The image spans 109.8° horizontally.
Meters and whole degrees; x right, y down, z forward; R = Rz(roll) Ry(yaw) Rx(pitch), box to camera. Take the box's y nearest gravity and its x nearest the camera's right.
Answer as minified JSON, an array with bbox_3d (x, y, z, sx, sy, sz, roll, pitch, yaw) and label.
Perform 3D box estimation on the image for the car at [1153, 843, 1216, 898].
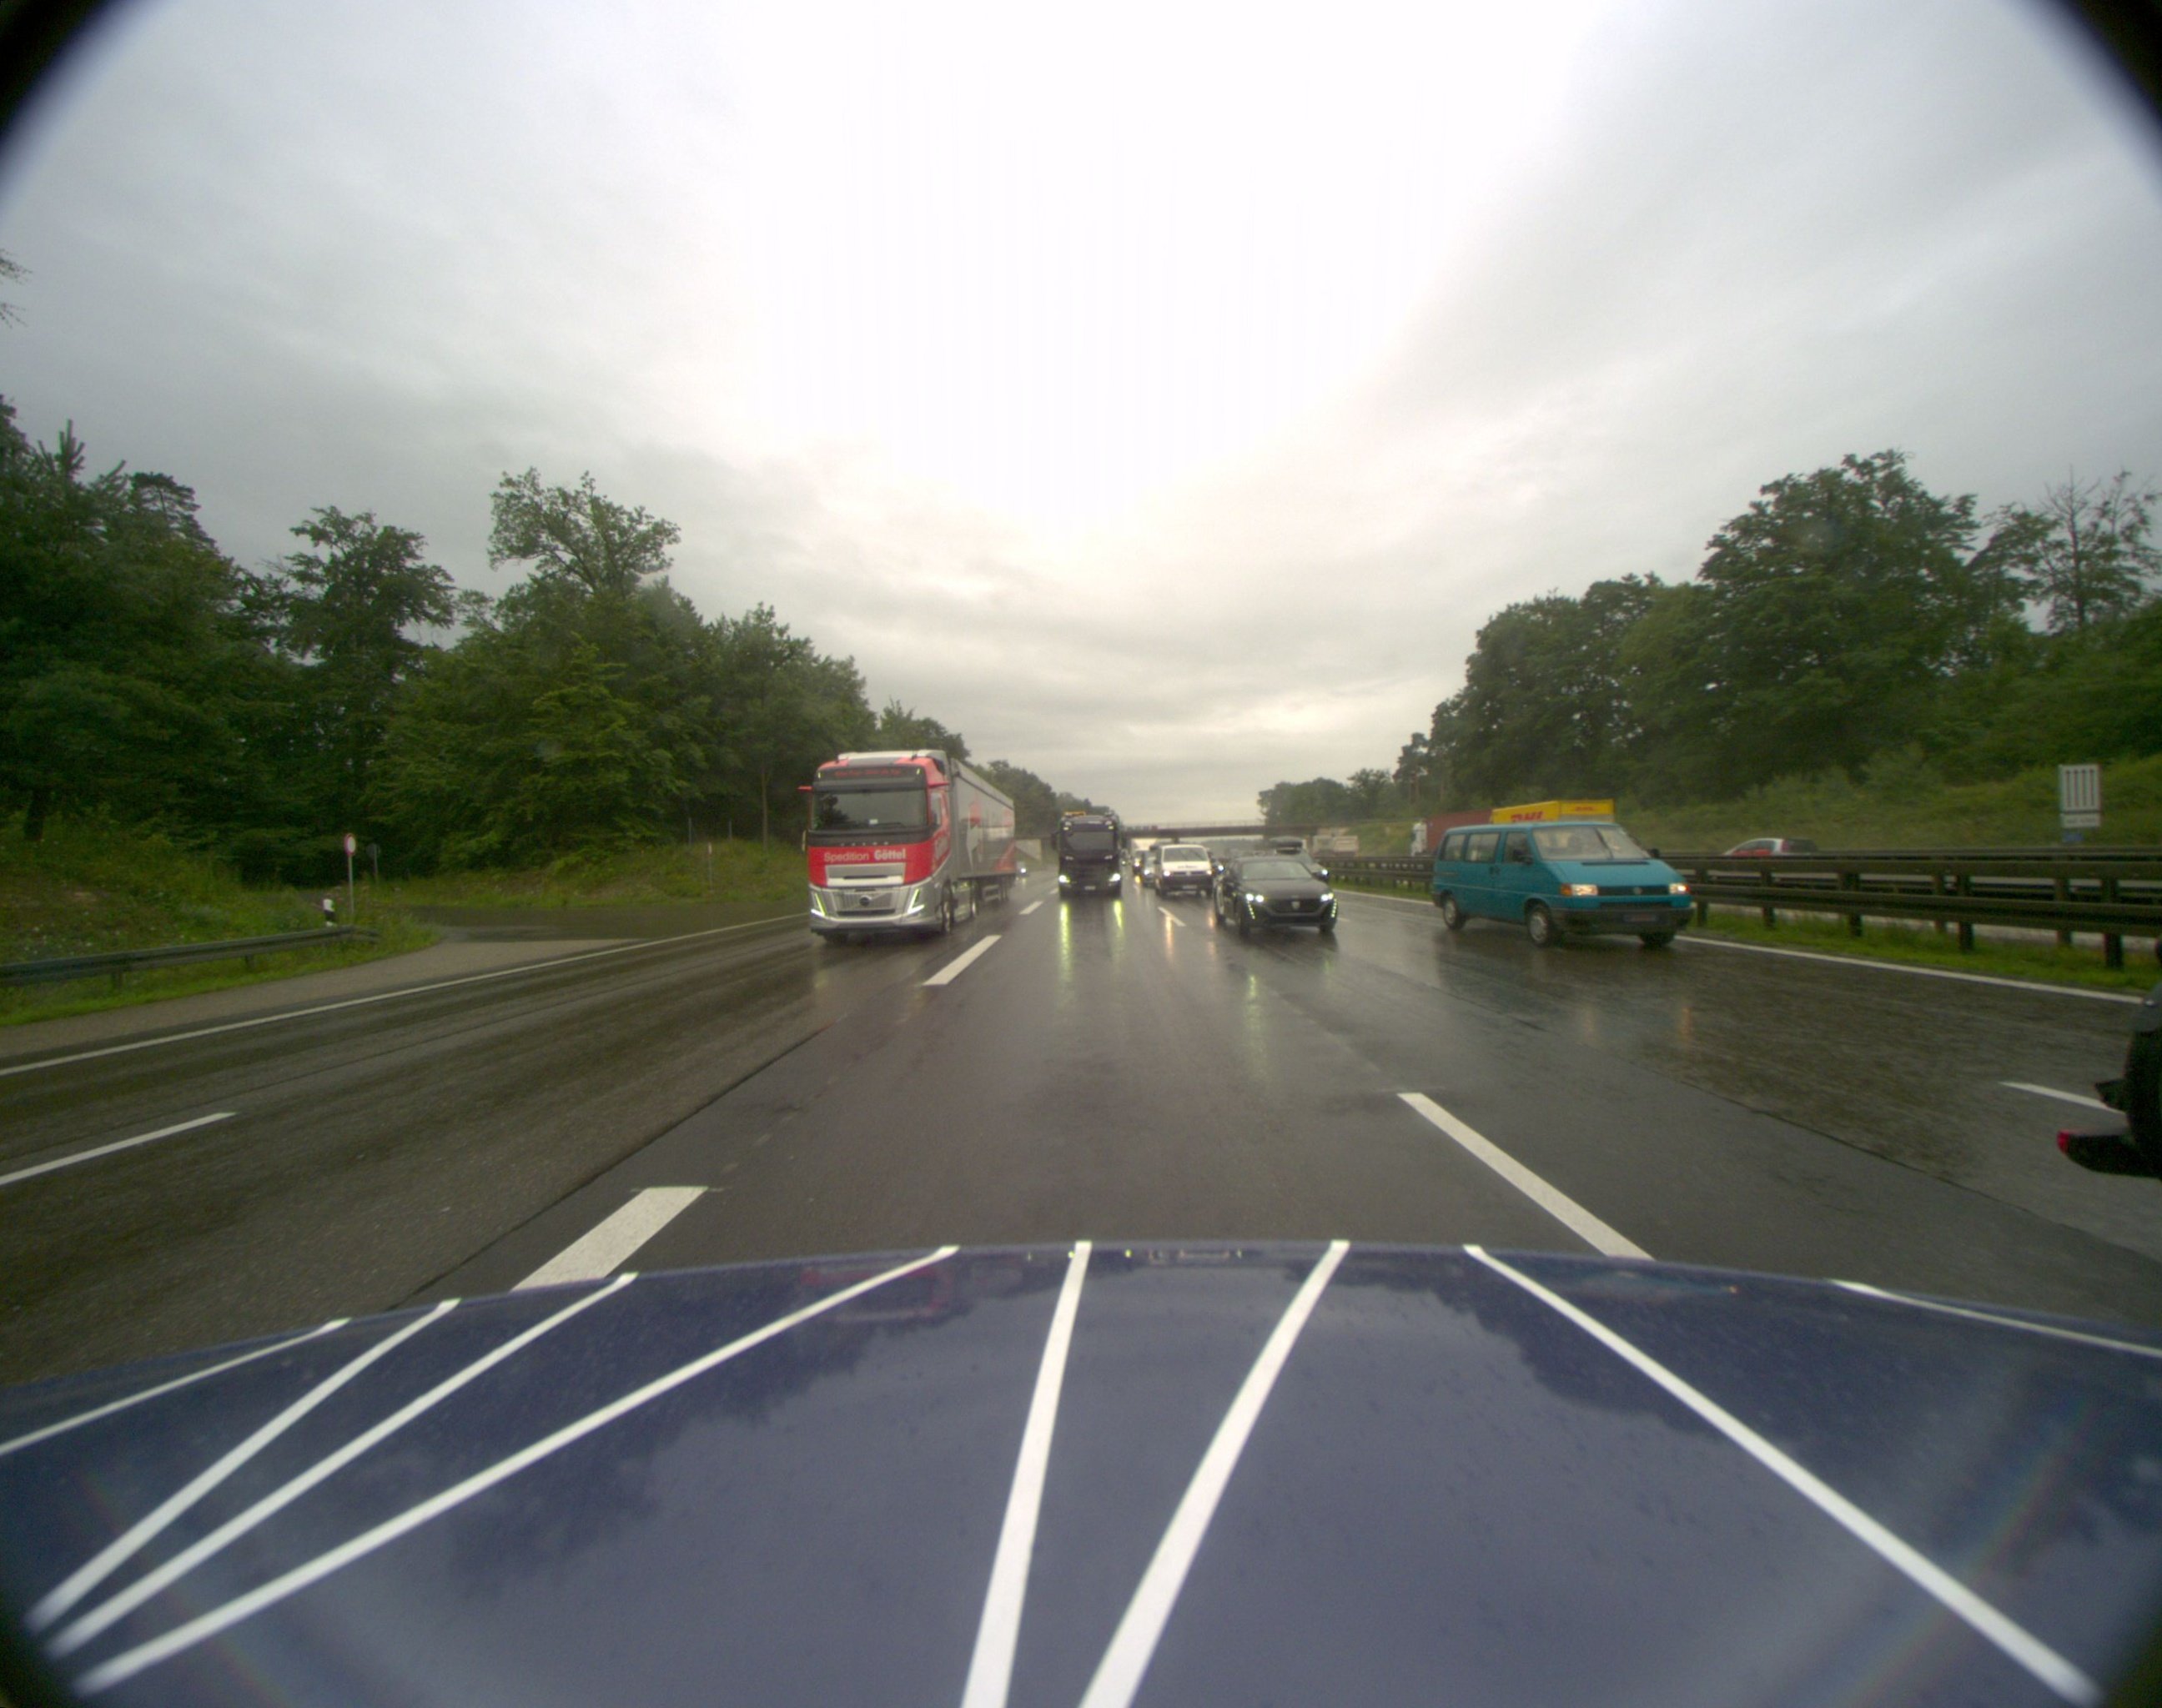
[{"bbox_3d":[3.846,0.573,29.008,1.994,1.869,4.768,-2,0,4],"label":"car"}]

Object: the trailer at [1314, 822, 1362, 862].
[{"bbox_3d":[27.285,-1.234,81.079,2.382,3.931,9.424,-1,0,3],"label":"trailer"}]

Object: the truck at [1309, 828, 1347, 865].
[{"bbox_3d":[27.559,-0.773,85.023,2.382,3.931,6.538,-1,0,3],"label":"truck"}]

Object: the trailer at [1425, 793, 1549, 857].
[{"bbox_3d":[28.805,-1.907,54.858,2.625,4.002,12.375,-2,0,2],"label":"trailer"}]

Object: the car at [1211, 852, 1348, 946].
[{"bbox_3d":[3.820,0.781,15.389,1.850,1.496,4.467,-2,1,4],"label":"car"}]

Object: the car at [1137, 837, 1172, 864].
[{"bbox_3d":[4.660,-0.205,48.925,1.994,1.551,4.768,-2,0,3],"label":"car"}]

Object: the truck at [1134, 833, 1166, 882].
[{"bbox_3d":[5.944,0.274,66.481,2.520,3.941,6.996,-2,0,4],"label":"truck"}]

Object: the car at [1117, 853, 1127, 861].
[{"bbox_3d":[8.669,0.541,160.919,1.864,1.554,4.436,-2,0,2],"label":"car"}]

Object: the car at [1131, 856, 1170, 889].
[{"bbox_3d":[3.505,0.902,38.871,1.850,1.496,4.467,-2,0,4],"label":"car"}]

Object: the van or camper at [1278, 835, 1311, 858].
[{"bbox_3d":[22.120,-0.738,78.919,2.234,2.238,4.873,-2,0,4],"label":"van or camper"}]

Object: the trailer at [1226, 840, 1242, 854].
[{"bbox_3d":[42.362,-1.849,211.099,3.030,3.795,13.566,-2,0,6],"label":"trailer"}]

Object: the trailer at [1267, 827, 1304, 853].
[{"bbox_3d":[33.006,-2.158,123.188,2.726,3.931,13.962,-1,0,3],"label":"trailer"}]

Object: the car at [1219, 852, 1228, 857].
[{"bbox_3d":[36.785,0.180,196.473,1.705,1.297,3.758,-2,0,4],"label":"car"}]

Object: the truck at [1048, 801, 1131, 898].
[{"bbox_3d":[0.674,-0.209,33.954,2.878,3.528,10.914,-2,1,5],"label":"truck"}]

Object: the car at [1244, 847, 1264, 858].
[{"bbox_3d":[28.603,-0.233,125.793,1.982,1.814,5.223,-2,0,1],"label":"car"}]

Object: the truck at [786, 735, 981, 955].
[{"bbox_3d":[-3.981,-0.170,16.713,2.608,3.934,5.600,-2,0,1],"label":"truck"}]

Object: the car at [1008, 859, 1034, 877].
[{"bbox_3d":[-5.582,1.268,70.949,1.864,1.554,4.407,-2,0,2],"label":"car"}]

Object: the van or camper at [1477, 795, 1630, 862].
[{"bbox_3d":[23.944,-1.206,39.243,2.848,2.961,8.788,-2,0,4],"label":"van or camper"}]

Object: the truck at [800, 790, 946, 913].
[{"bbox_3d":[-7.726,-0.113,29.937,2.608,3.934,9.940,-2,0,1],"label":"truck"}]

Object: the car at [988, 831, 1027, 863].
[{"bbox_3d":[-4.872,-0.437,50.976,1.998,2.002,4.000,-2,0,2],"label":"car"}]

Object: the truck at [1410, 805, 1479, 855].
[{"bbox_3d":[29.120,-1.834,61.119,2.710,3.795,6.265,-2,0,3],"label":"truck"}]

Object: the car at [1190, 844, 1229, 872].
[{"bbox_3d":[8.860,0.240,52.854,1.982,1.814,4.606,-2,0,2],"label":"car"}]

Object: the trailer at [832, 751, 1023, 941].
[{"bbox_3d":[-3.838,-0.201,23.490,2.608,3.934,14.581,-2,0,1],"label":"trailer"}]

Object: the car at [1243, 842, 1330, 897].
[{"bbox_3d":[7.556,0.514,28.382,1.982,1.814,4.606,-2,0,1],"label":"car"}]

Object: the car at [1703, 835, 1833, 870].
[{"bbox_3d":[29.077,-0.043,32.348,1.807,1.337,3.999,-2,0,-2],"label":"car"}]

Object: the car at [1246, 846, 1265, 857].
[{"bbox_3d":[28.917,-0.419,126.062,1.998,1.759,5.040,-1,0,2],"label":"car"}]

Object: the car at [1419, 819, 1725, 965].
[{"bbox_3d":[7.533,0.494,12.401,1.915,1.852,4.759,-2,0,1],"label":"car"}]

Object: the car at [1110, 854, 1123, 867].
[{"bbox_3d":[5.929,1.087,125.988,1.998,2.002,4.001,-2,0,2],"label":"car"}]
